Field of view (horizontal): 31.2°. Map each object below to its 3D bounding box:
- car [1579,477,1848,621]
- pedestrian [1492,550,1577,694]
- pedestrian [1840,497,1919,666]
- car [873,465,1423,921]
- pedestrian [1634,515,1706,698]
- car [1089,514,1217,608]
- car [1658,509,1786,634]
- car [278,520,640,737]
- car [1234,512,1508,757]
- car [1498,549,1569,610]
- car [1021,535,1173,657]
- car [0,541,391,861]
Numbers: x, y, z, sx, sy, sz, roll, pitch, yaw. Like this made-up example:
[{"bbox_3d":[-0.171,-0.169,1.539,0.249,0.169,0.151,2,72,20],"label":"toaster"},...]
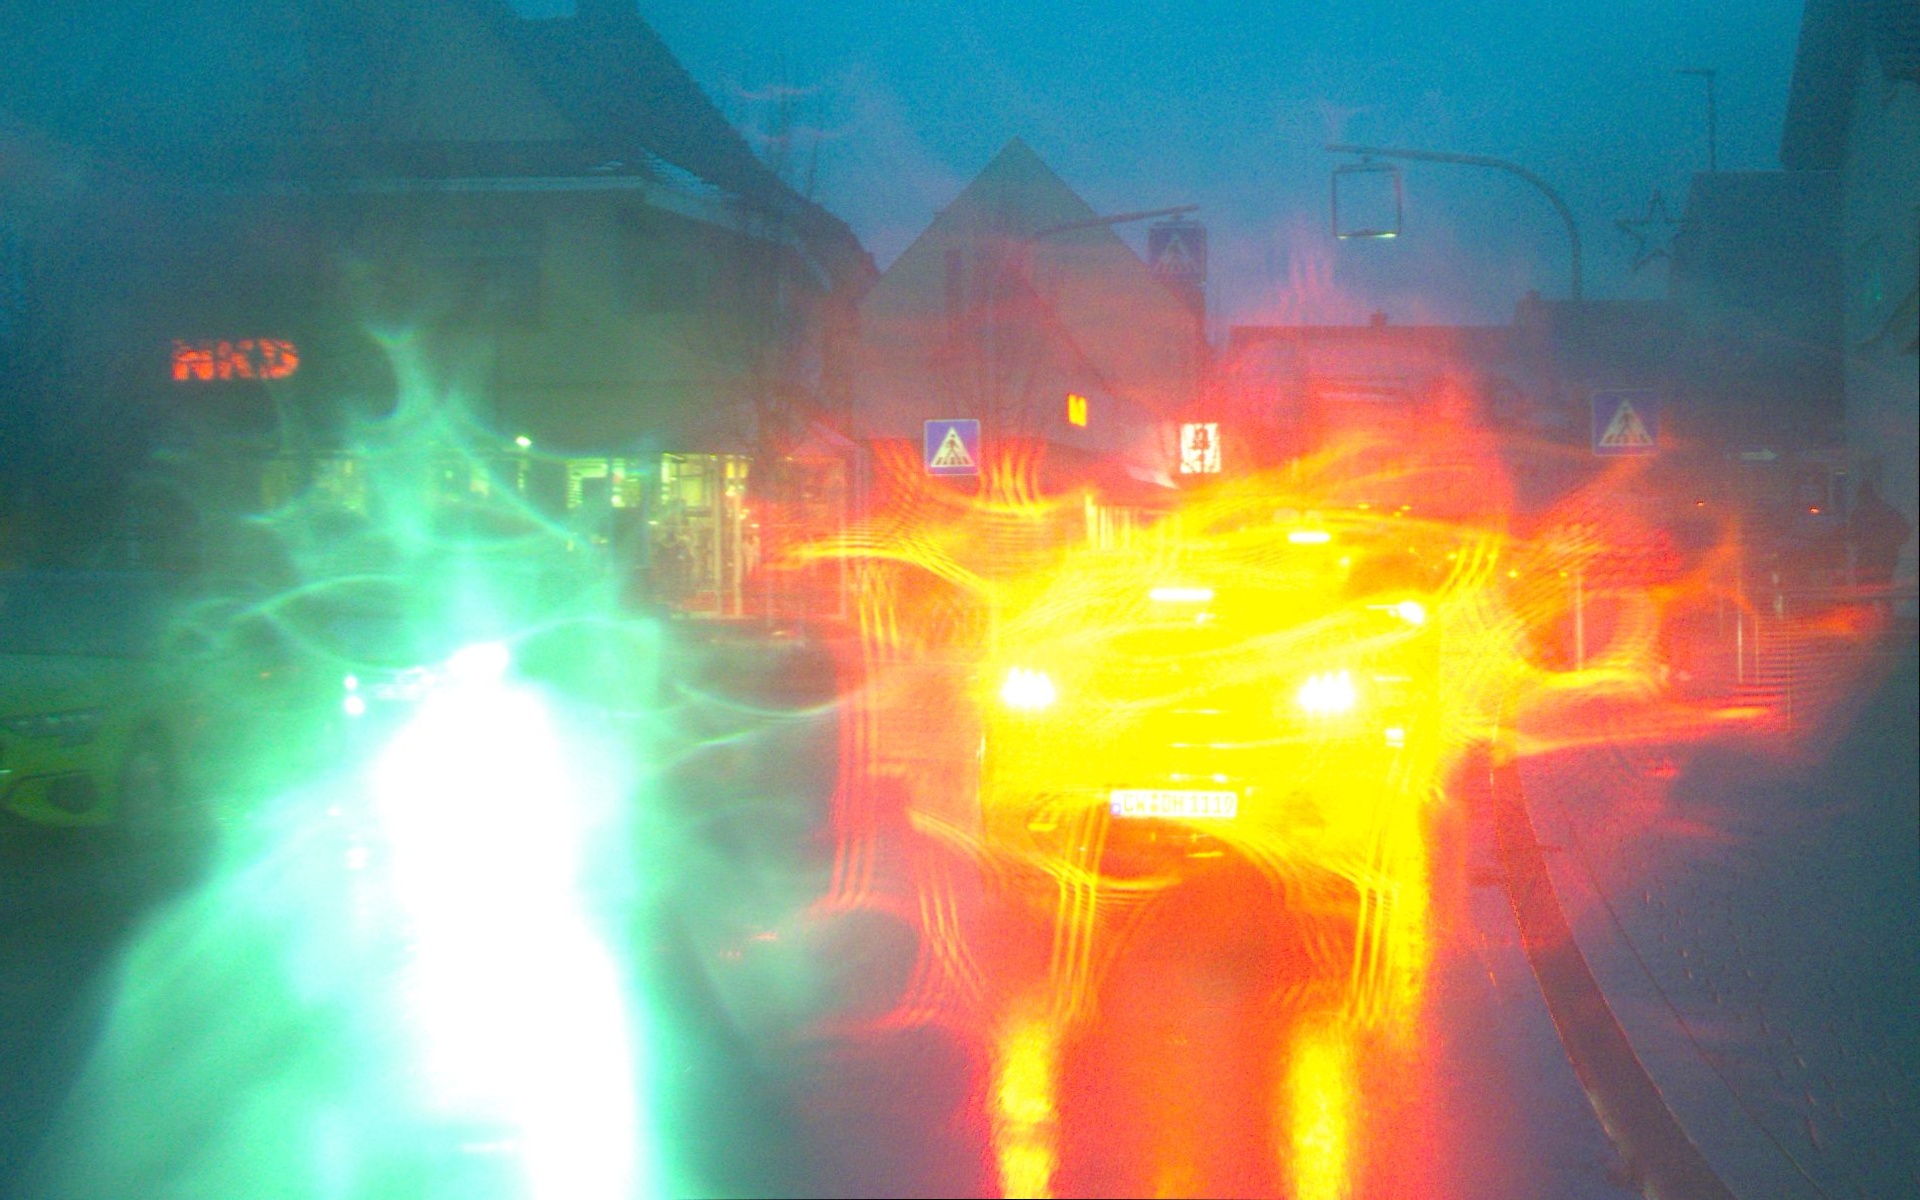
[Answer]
[{"bbox_3d":[10.859,-0.735,49.639,3.699,2.007,1.688,1,0,12],"label":"car"},{"bbox_3d":[7.127,0.262,42.694,0.974,1.736,0.961,1,2,8],"label":"pedestrian"},{"bbox_3d":[10.330,-0.219,38.595,0.703,1.870,0.617,1,2,1],"label":"pedestrian"},{"bbox_3d":[1.044,0.314,15.945,1.994,1.789,4.646,0,1,10],"label":"car"},{"bbox_3d":[7.402,0.064,35.829,0.663,1.881,0.823,1,0,15],"label":"pedestrian"},{"bbox_3d":[3.736,-0.744,65.754,1.994,1.746,4.360,0,1,9],"label":"car"},{"bbox_3d":[12.924,-0.499,58.493,1.642,2.007,3.999,-2,1,6],"label":"car"},{"bbox_3d":[-3.789,0.177,26.666,1.670,1.511,3.999,2,1,8],"label":"car"},{"bbox_3d":[3.127,0.221,25.561,1.798,1.656,3.998,1,0,10],"label":"car"},{"bbox_3d":[13.692,-0.499,82.153,1.535,1.241,3.646,-5,1,9],"label":"car"},{"bbox_3d":[2.385,-0.099,58.835,1.994,2.007,4.359,0,1,10],"label":"car"},{"bbox_3d":[-4.677,0.452,18.821,1.749,1.511,4.340,2,1,9],"label":"car"}]
